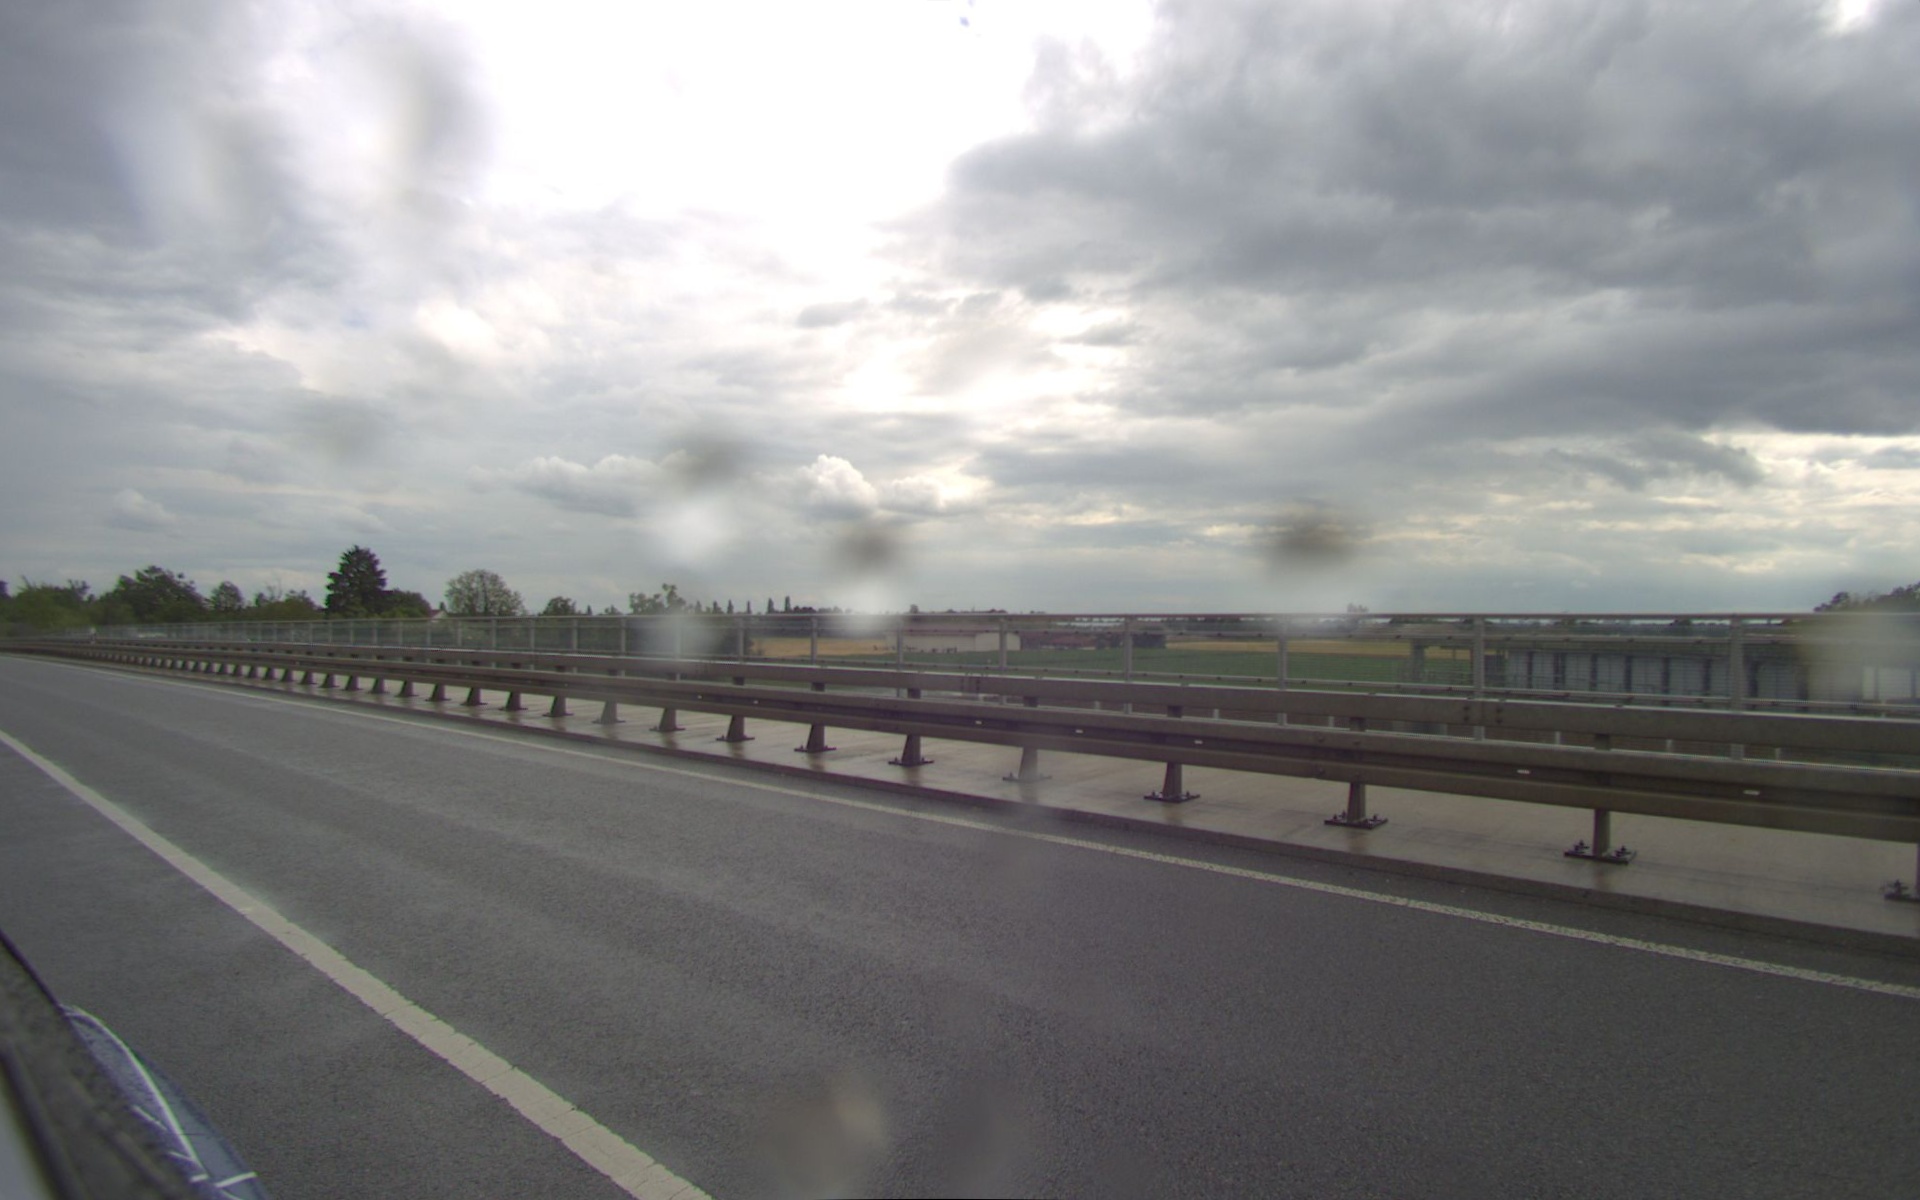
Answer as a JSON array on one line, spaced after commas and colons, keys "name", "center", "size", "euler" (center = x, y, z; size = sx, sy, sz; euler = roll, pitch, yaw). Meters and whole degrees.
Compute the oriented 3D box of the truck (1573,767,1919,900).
[{"name": "truck", "center": [28.840, 8.535, 37.371], "size": [11.006, 4.031, 2.438], "euler": [-1, 0, -2]}]
